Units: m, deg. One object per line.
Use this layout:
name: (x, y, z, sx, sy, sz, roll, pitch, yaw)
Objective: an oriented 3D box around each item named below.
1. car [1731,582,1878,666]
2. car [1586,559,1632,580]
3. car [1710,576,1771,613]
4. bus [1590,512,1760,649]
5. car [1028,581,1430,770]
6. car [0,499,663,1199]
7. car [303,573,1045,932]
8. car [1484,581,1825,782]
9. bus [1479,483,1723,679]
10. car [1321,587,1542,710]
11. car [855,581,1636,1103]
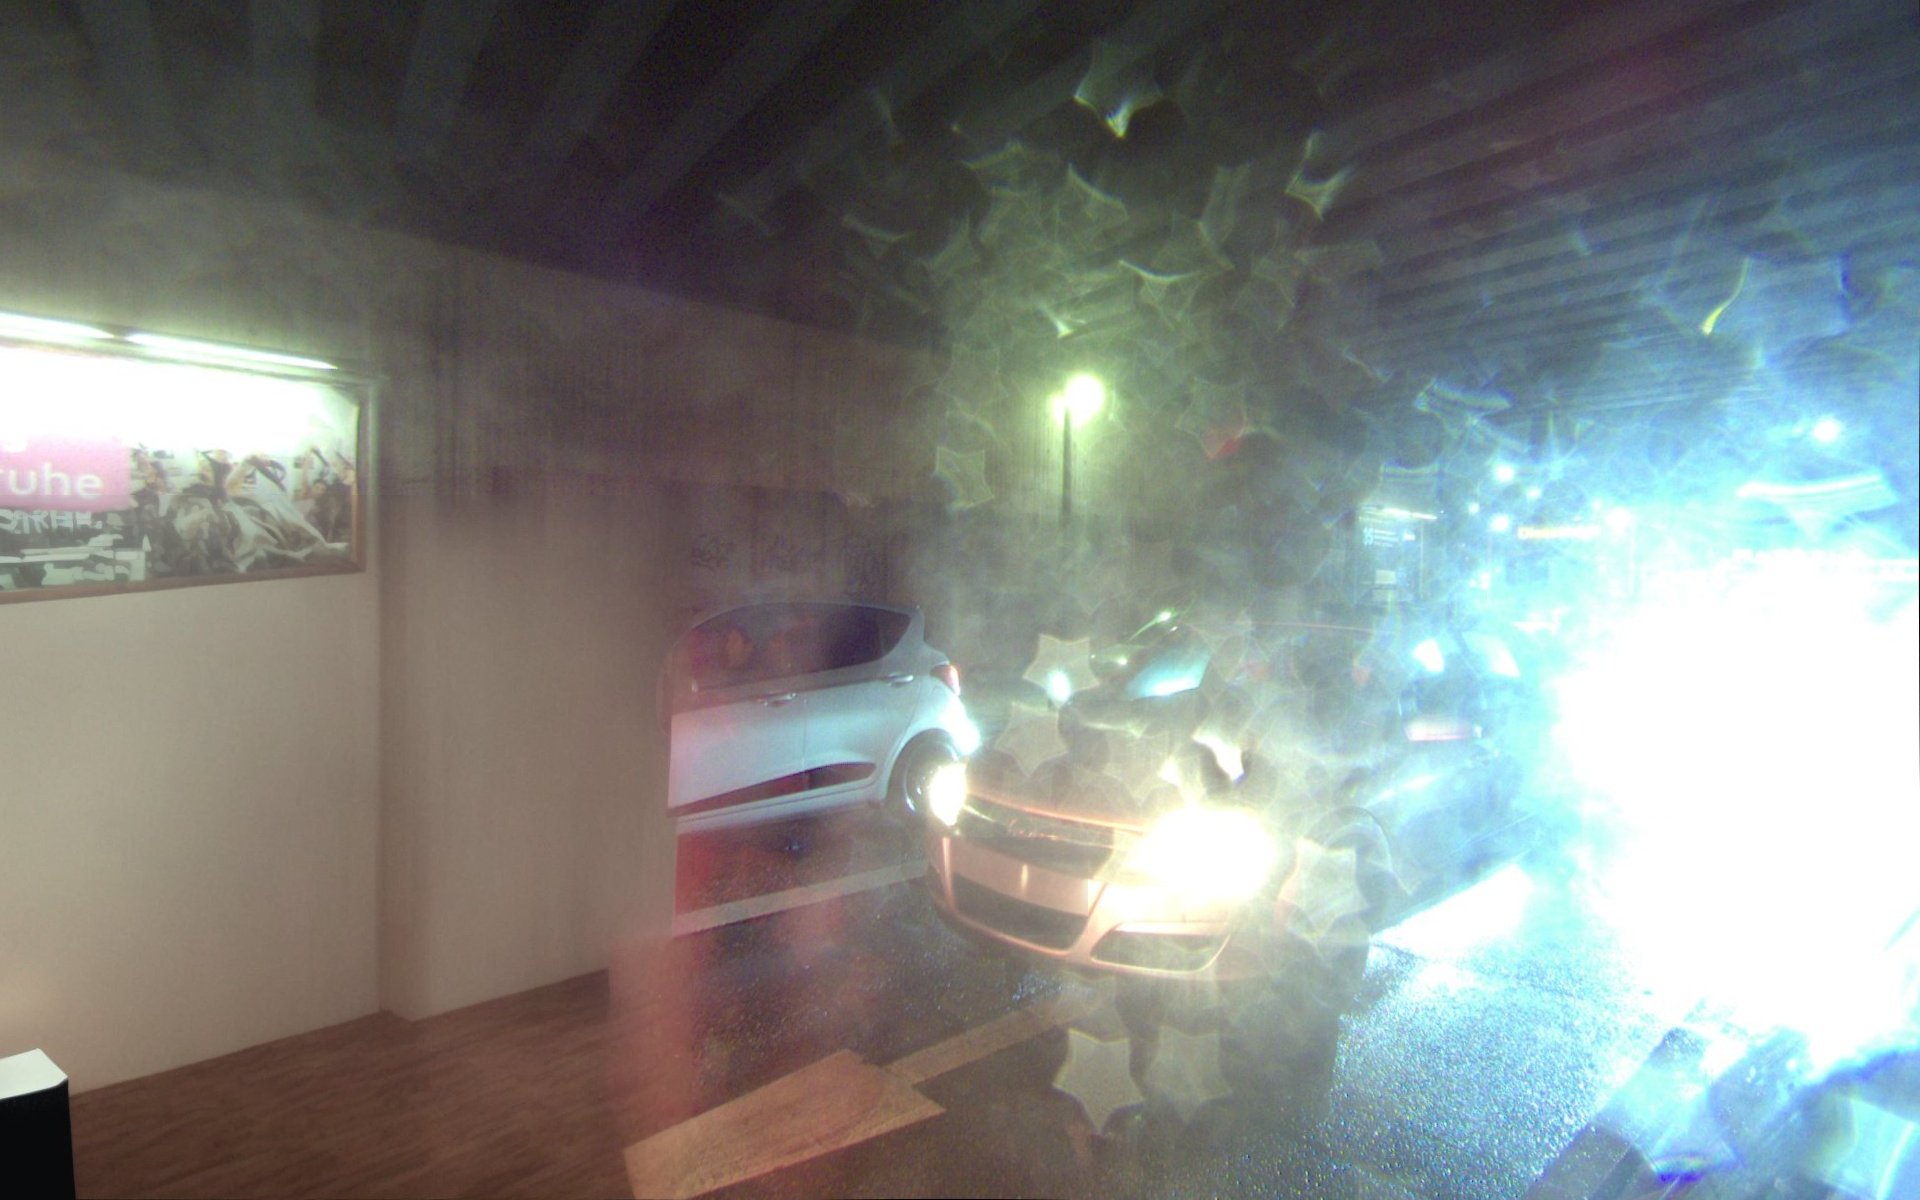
car: (17.062, 0.401, 20.394, 3.906, 1.481, 1.696, -1, 3, -42)
car: (46.344, -2.152, 72.320, 1.685, 1.407, 3.979, 0, 1, 17)
car: (42.072, -0.313, 54.654, 1.982, 1.905, 3.960, 0, 1, 29)
bus: (20.439, -0.556, 28.638, 2.733, 3.278, 9.551, 1, 1, 43)
car: (2.963, 0.578, 10.447, 4.705, 1.505, 1.723, -1, 2, -42)
car: (-2.695, 0.586, 0.980, 4.308, 1.464, 1.723, -1, 3, -42)
car: (-1.513, 0.605, 6.265, 4.091, 1.464, 1.723, -1, 3, -42)
car: (6.721, 0.619, 9.625, 4.091, 1.506, 1.722, -1, -2, -42)
bus: (13.975, -0.404, 21.576, 2.733, 3.318, 9.551, 1, 1, 43)
car: (7.146, 0.601, 15.131, 1.721, 1.505, 4.096, 3, 3, 44)
car: (1.656, 0.652, 4.881, 4.091, 1.464, 1.723, -1, 1, -42)
